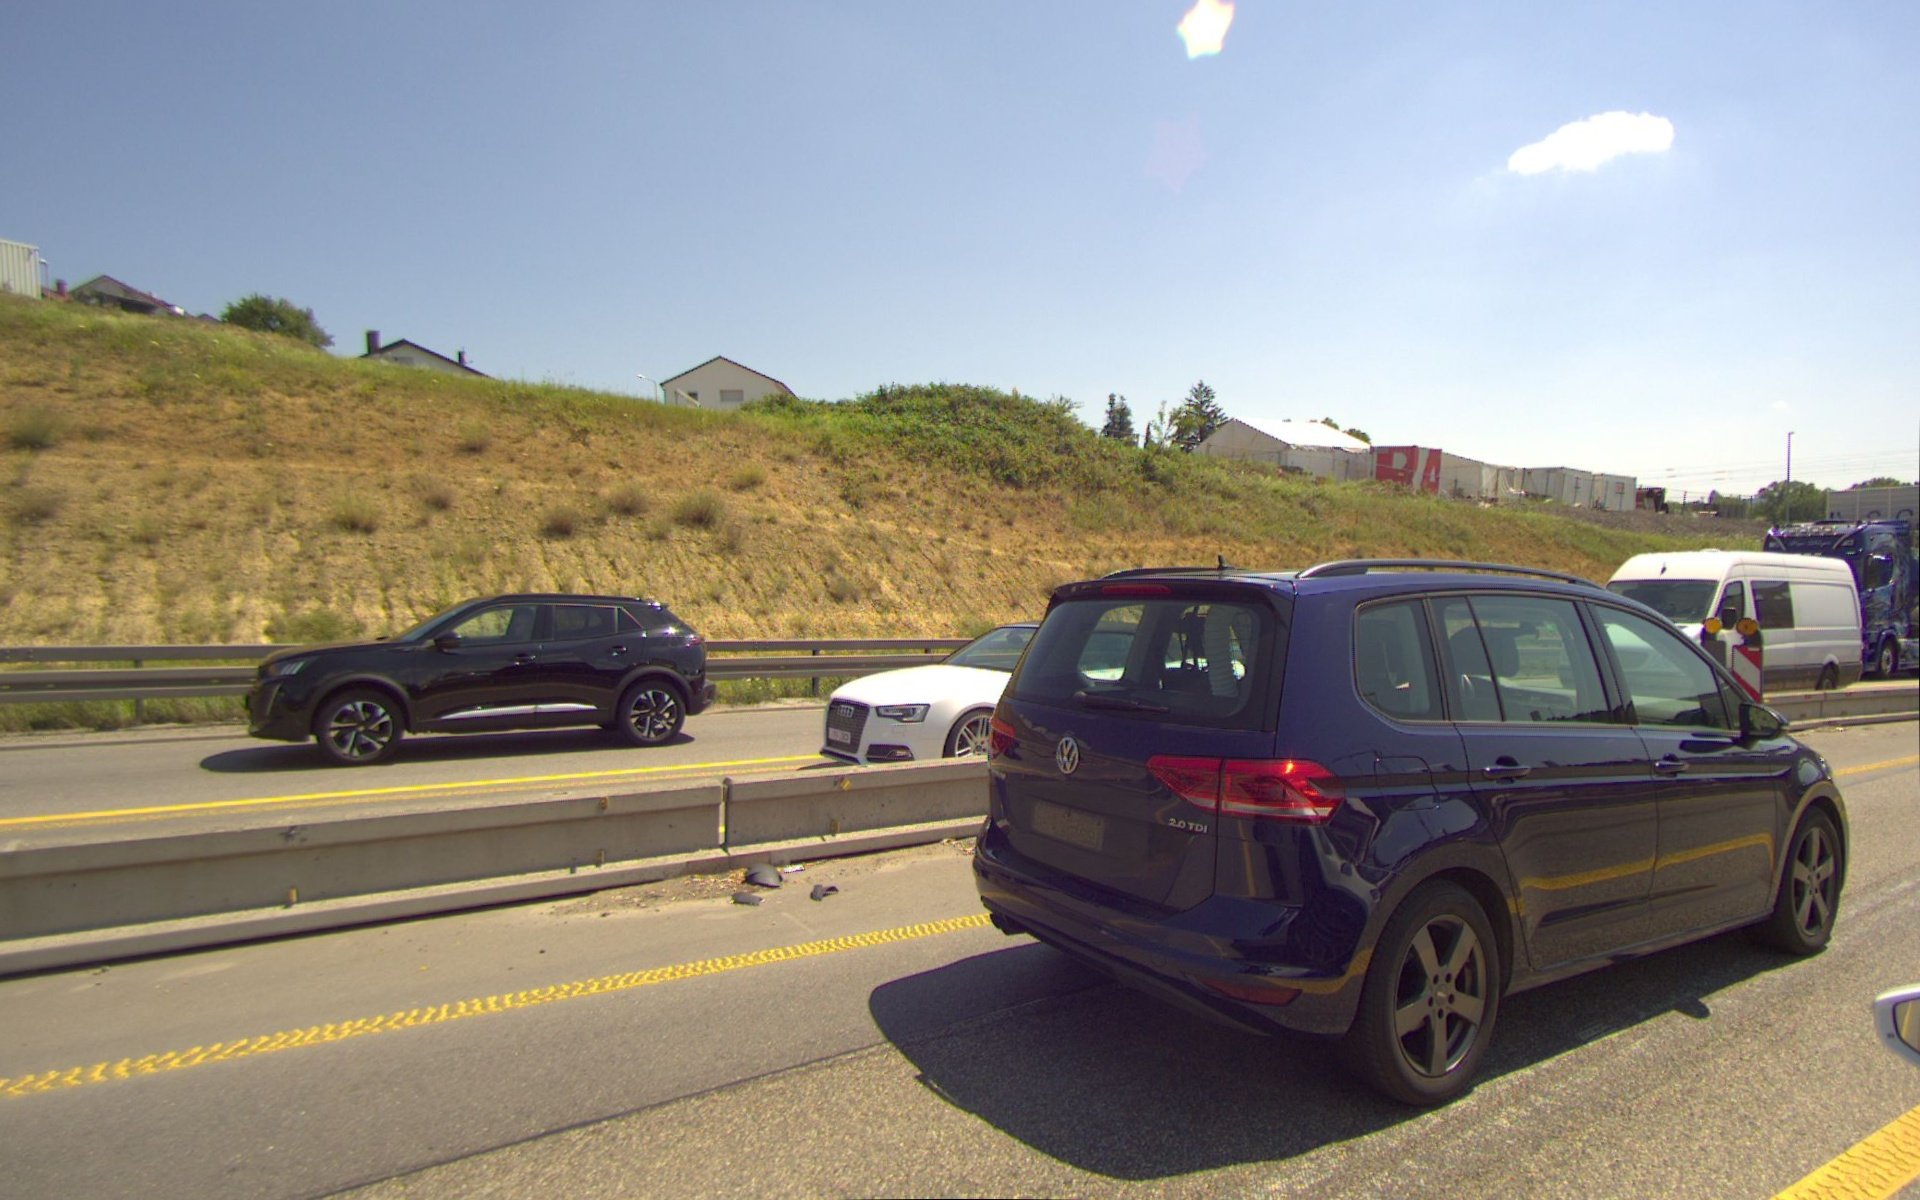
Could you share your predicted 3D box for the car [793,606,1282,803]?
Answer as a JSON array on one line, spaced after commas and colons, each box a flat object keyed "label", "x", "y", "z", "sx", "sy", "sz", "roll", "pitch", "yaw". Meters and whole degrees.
[{"label": "car", "x": 0.874, "y": 0.820, "z": 9.674, "sx": 4.588, "sy": 1.466, "sz": 1.789, "roll": 1, "pitch": 0, "yaw": -34}]

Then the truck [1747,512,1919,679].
[{"label": "truck", "x": 23.104, "y": -0.091, "z": 26.463, "sx": 3.952, "sy": 4.069, "sz": 2.347, "roll": 1, "pitch": 1, "yaw": -30}]

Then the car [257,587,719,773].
[{"label": "car", "x": -4.642, "y": 0.676, "z": 10.171, "sx": 3.956, "sy": 1.552, "sz": 1.684, "roll": 1, "pitch": 1, "yaw": -33}]

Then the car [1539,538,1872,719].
[{"label": "car", "x": 12.938, "y": 0.437, "z": 17.235, "sx": 6.927, "sy": 2.642, "sz": 1.984, "roll": 1, "pitch": 1, "yaw": -30}]

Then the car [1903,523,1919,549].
[{"label": "car", "x": 71.730, "y": -4.690, "z": 72.791, "sx": 1.931, "sy": 1.807, "sz": 4.547, "roll": 1, "pitch": 0, "yaw": -20}]

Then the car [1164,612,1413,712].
[{"label": "car", "x": 5.564, "y": 0.960, "z": 16.899, "sx": 4.081, "sy": 1.466, "sz": 1.756, "roll": 1, "pitch": 0, "yaw": -31}]

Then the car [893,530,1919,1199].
[{"label": "car", "x": 2.151, "y": 0.676, "z": 4.355, "sx": 4.598, "sy": 1.741, "sz": 1.767, "roll": -1, "pitch": 1, "yaw": -31}]

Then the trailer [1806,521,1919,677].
[{"label": "trailer", "x": 29.255, "y": 0.030, "z": 29.977, "sx": 11.312, "sy": 4.069, "sz": 2.336, "roll": 1, "pitch": 1, "yaw": -30}]
